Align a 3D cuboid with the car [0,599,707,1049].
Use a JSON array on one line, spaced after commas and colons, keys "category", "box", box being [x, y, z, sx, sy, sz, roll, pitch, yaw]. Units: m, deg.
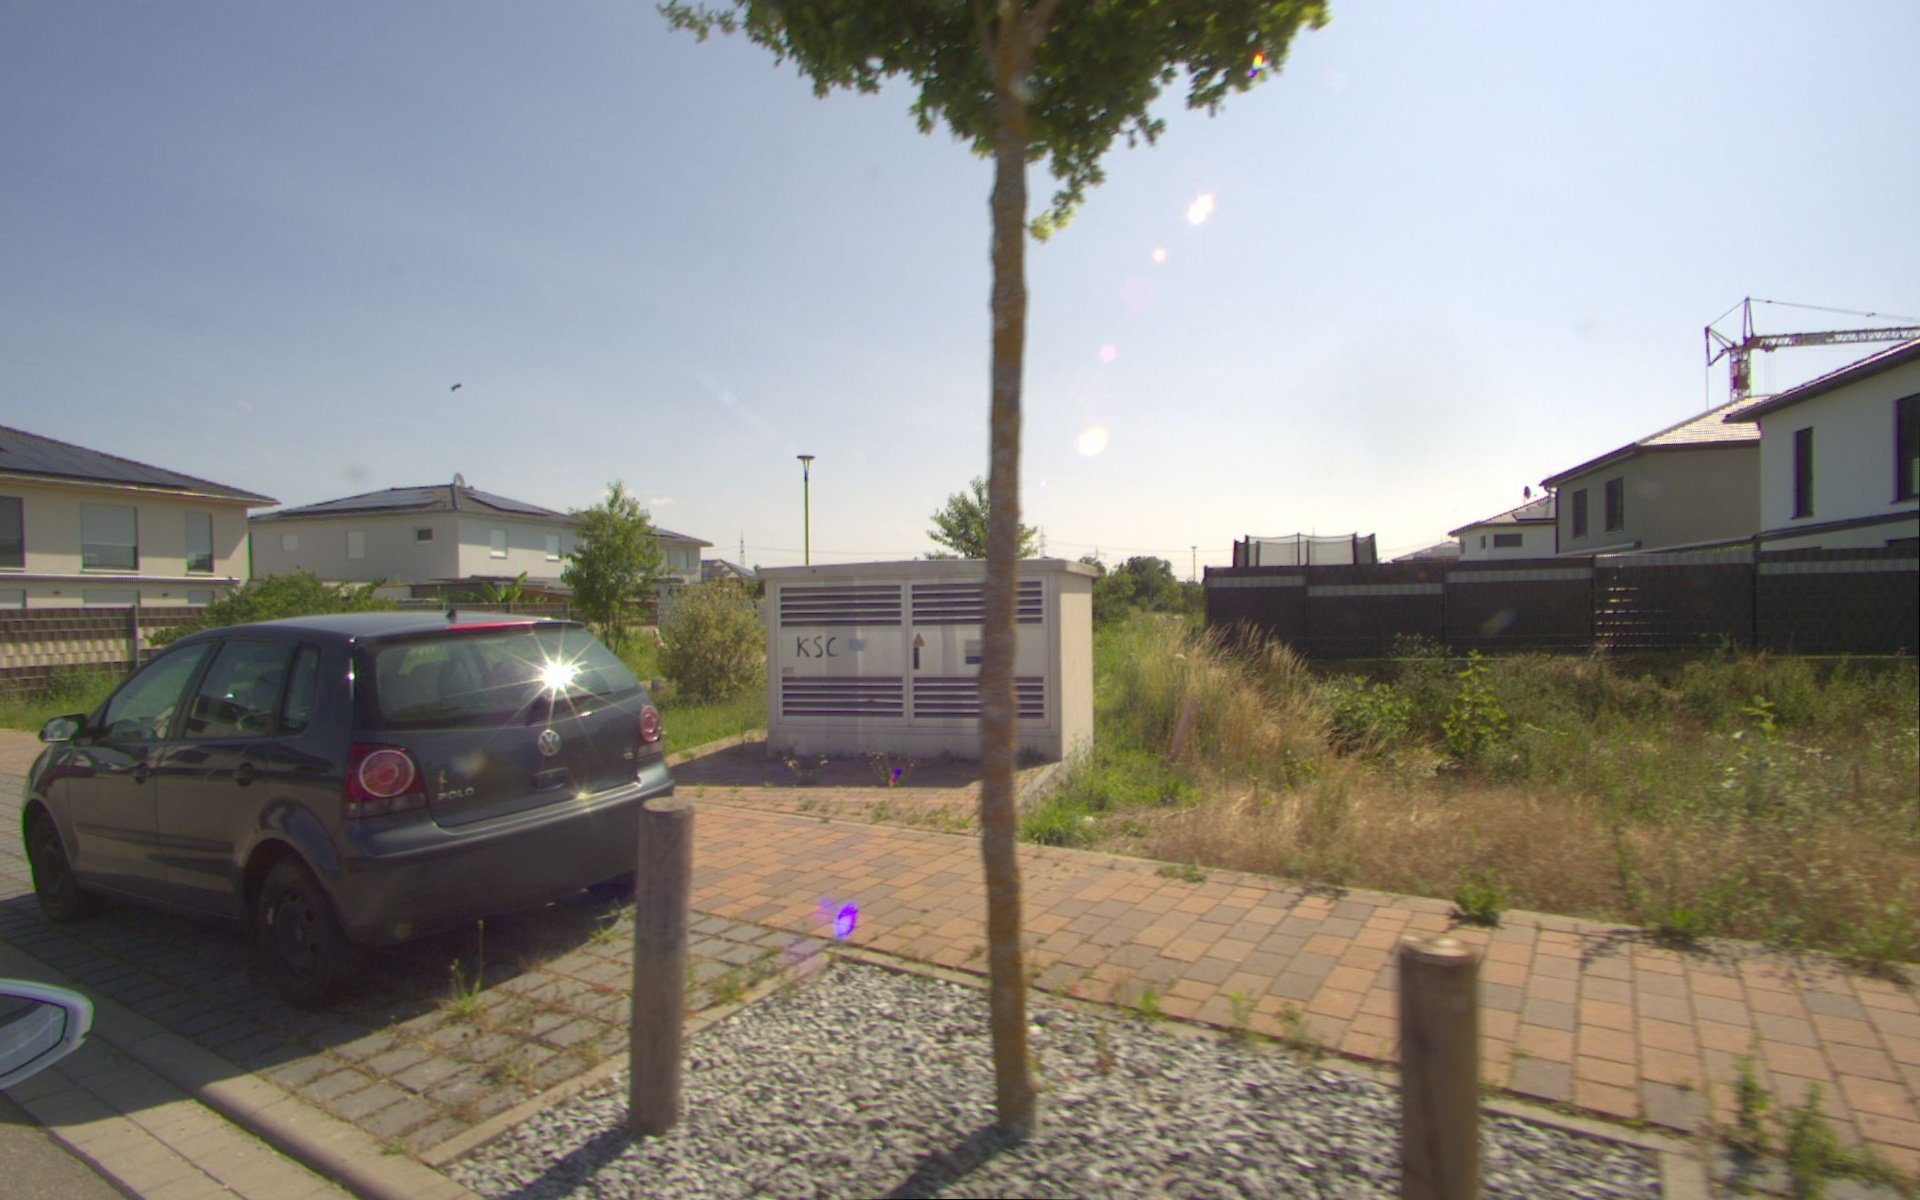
[{"category": "car", "box": [-3.132, 0.794, 4.978, 3.622, 1.494, 1.595, -1, -1, 32]}]
